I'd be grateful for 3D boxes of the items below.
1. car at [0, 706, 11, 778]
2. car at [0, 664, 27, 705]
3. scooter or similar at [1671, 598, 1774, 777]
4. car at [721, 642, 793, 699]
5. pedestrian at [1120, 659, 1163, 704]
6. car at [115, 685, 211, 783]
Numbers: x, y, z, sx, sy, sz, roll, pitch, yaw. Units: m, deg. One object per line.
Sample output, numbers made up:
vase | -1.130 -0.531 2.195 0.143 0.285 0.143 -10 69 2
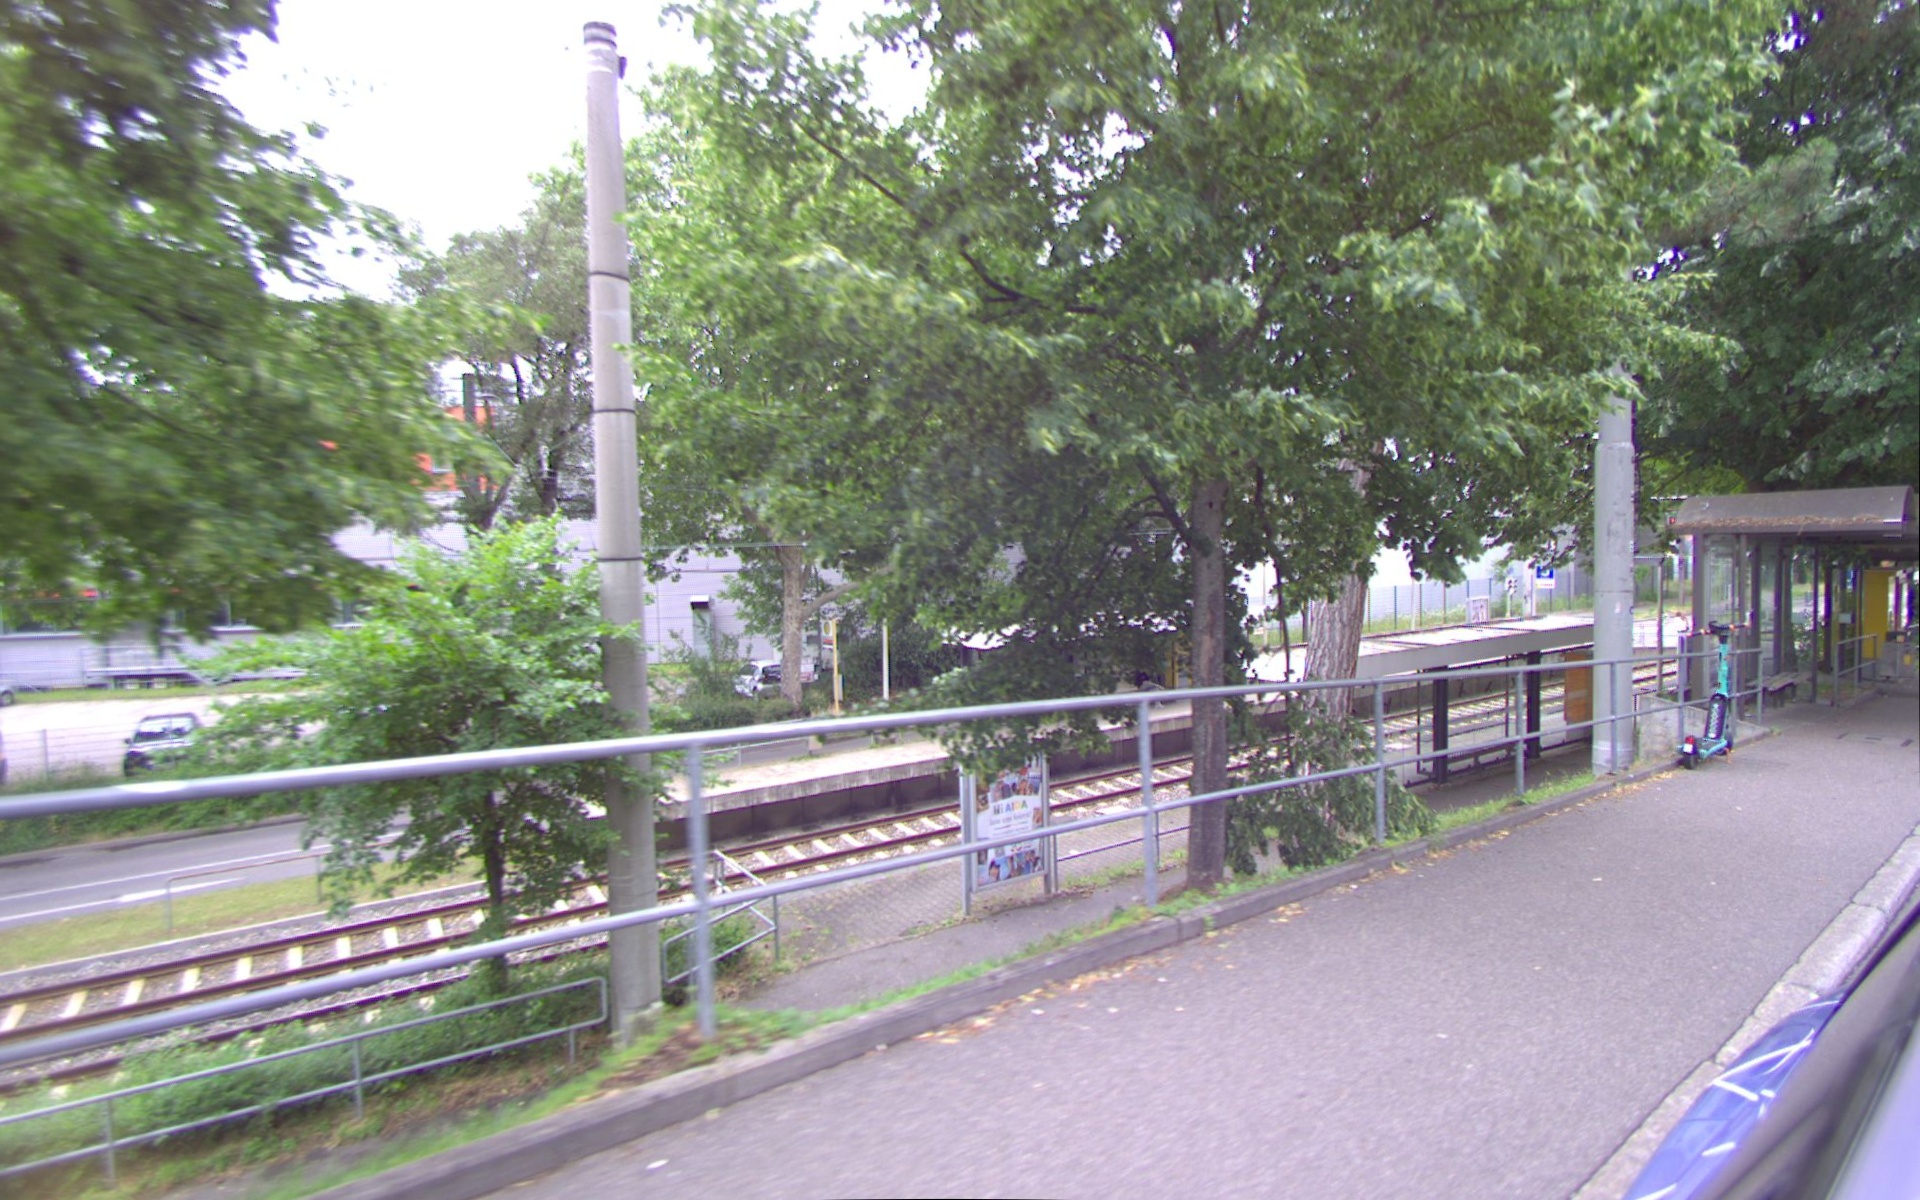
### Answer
car | -26.210 3.948 25.841 1.961 1.814 4.586 -1 2 -31
car | -41.226 3.772 41.471 1.961 1.484 4.352 0 7 -2
scooter or similar | 6.611 0.699 8.756 1.430 1.401 0.430 -2 1 -41
car | -7.775 2.606 38.473 1.958 1.723 4.008 -1 2 -22
pedestrian | 5.232 2.342 29.194 0.935 1.181 0.779 -1 1 -34
car | -22.095 3.607 28.112 1.964 2.038 3.997 -1 2 -38
